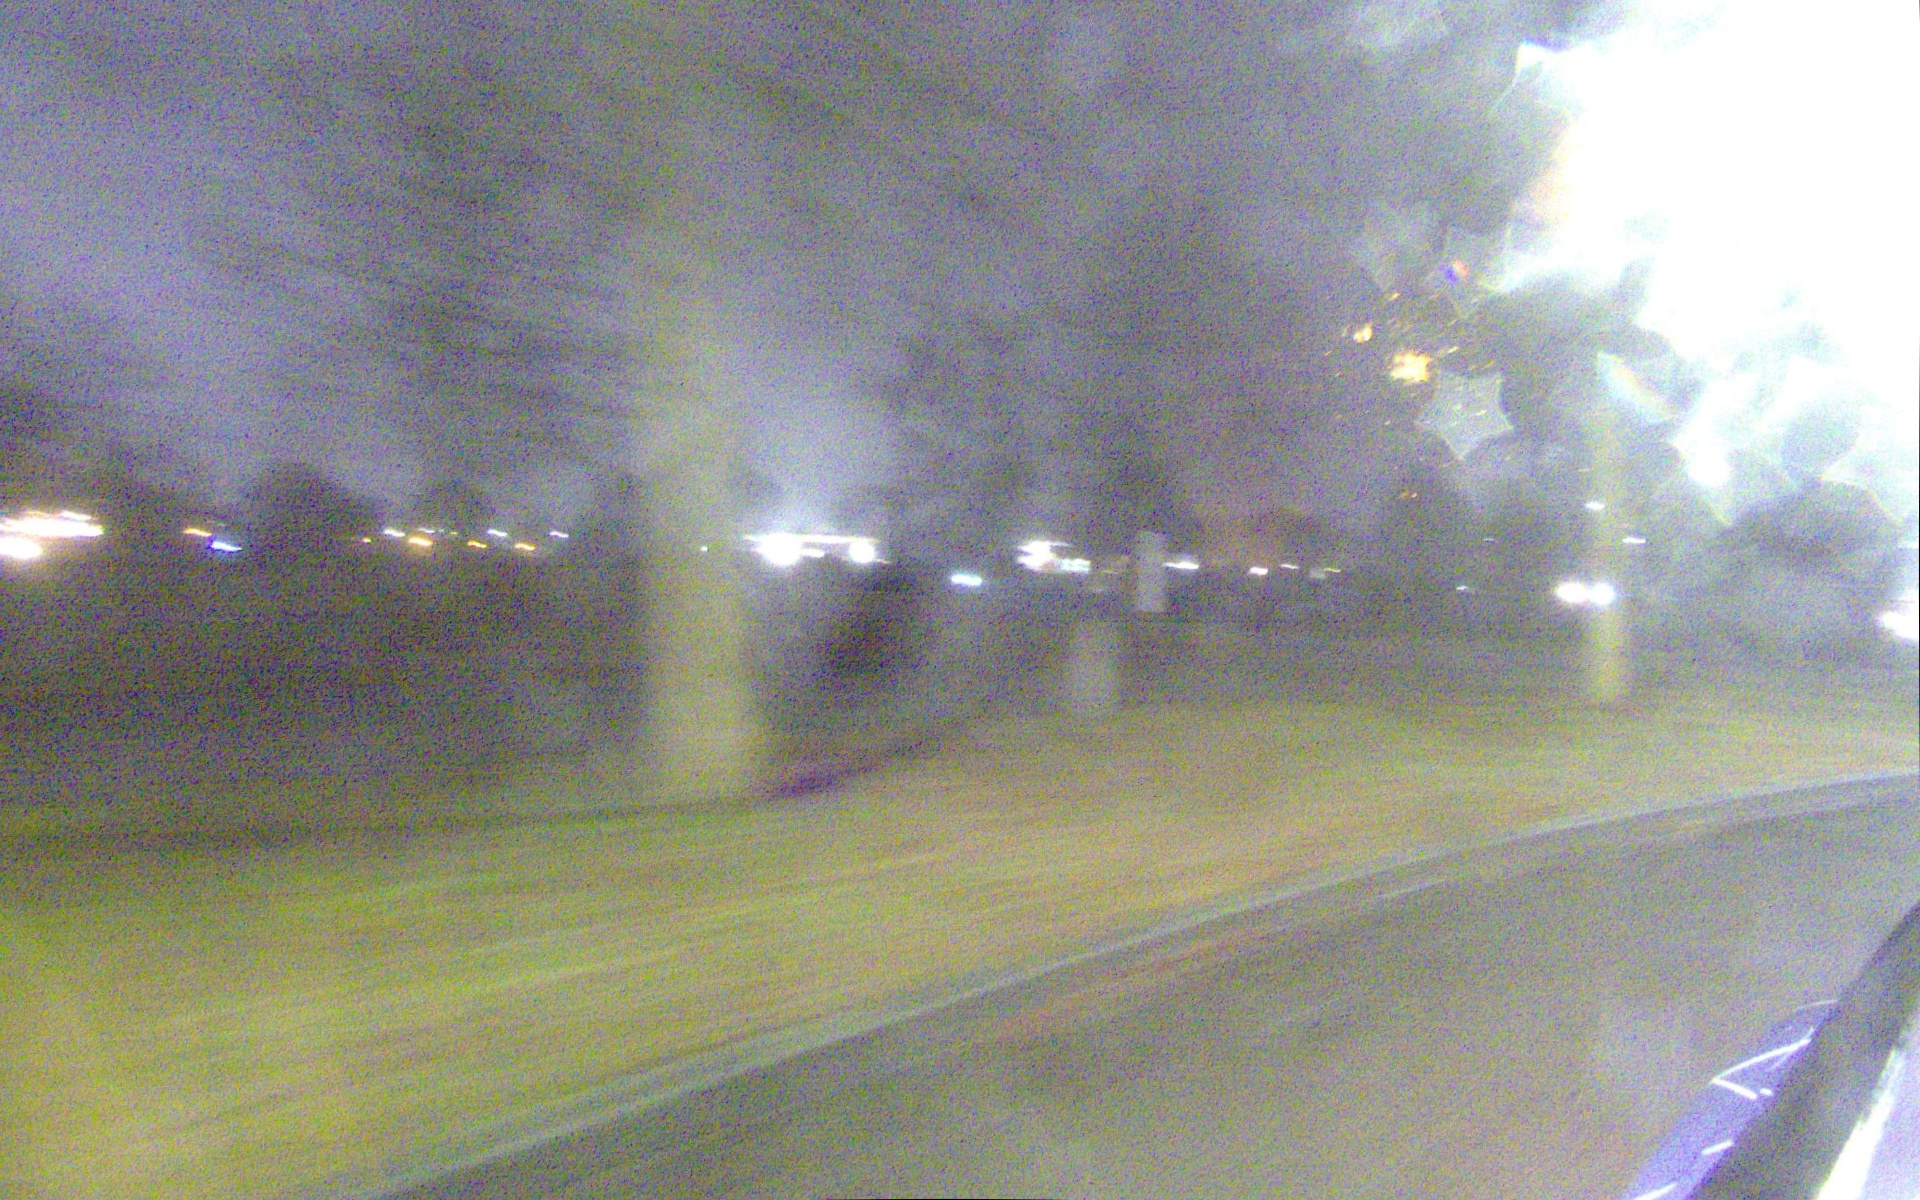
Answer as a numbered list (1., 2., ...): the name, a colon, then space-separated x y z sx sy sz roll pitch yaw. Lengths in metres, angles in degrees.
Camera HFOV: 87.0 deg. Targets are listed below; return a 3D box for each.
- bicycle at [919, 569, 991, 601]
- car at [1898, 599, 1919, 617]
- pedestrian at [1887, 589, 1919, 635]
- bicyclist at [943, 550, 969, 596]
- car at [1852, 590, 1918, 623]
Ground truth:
1. bicycle: -0.174 -0.507 32.864 2.405 0.989 0.614 1 1 34
2. car: 80.546 0.661 84.078 1.976 1.419 5.313 1 2 21
3. pedestrian: 31.859 0.387 34.044 0.720 1.504 0.830 1 1 22
4. bicyclist: -0.140 -0.877 32.807 0.601 1.465 0.609 1 1 34
5. car: 46.253 0.284 50.667 1.655 1.521 3.713 1 2 30
